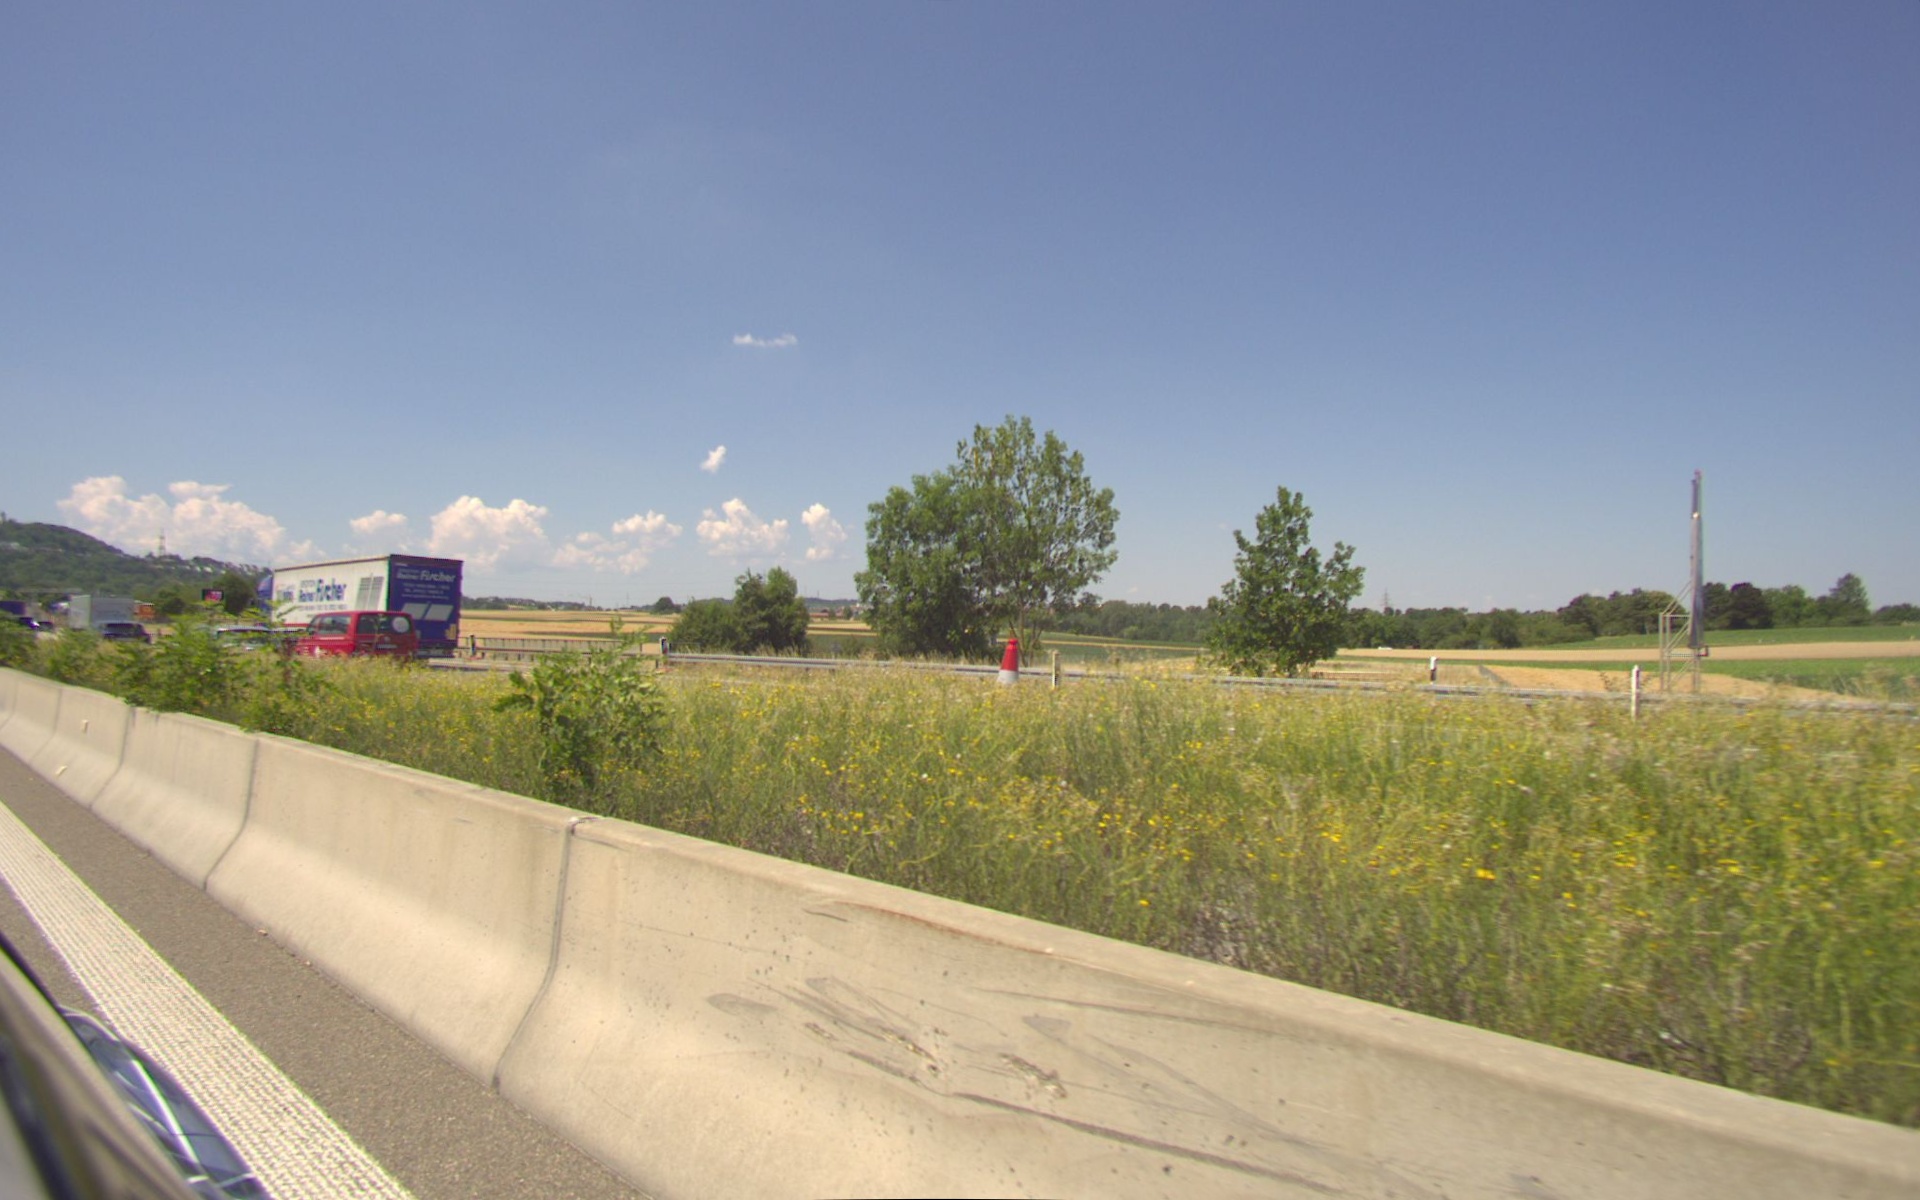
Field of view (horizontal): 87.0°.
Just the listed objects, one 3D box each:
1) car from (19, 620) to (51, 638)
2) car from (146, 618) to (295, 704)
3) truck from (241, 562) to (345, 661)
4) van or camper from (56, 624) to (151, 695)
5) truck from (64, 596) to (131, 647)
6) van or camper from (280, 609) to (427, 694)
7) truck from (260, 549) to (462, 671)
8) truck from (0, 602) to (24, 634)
[{"bbox_3d":[-89.510,2.807,97.922,4.078,1.732,1.813,-1,-3,41],"label":"car"},{"bbox_3d":[-18.767,1.454,25.602,4.792,1.961,1.973,-1,-2,41],"label":"car"},{"bbox_3d":[-30.559,0.586,46.310,4.851,4.271,2.565,-1,-4,41],"label":"truck"},{"bbox_3d":[-33.716,2.262,39.796,4.394,2.649,2.126,-1,-2,41],"label":"van or camper"},{"bbox_3d":[-65.757,1.694,77.058,8.785,3.648,2.670,-1,-3,42],"label":"truck"},{"bbox_3d":[-18.058,1.468,29.999,5.490,2.291,2.072,-1,-2,40],"label":"van or camper"},{"bbox_3d":[-24.772,0.503,41.249,14.115,4.271,2.565,-1,-4,41],"label":"truck"},{"bbox_3d":[-112.649,2.106,118.795,9.987,3.636,2.945,-1,-2,41],"label":"truck"}]
